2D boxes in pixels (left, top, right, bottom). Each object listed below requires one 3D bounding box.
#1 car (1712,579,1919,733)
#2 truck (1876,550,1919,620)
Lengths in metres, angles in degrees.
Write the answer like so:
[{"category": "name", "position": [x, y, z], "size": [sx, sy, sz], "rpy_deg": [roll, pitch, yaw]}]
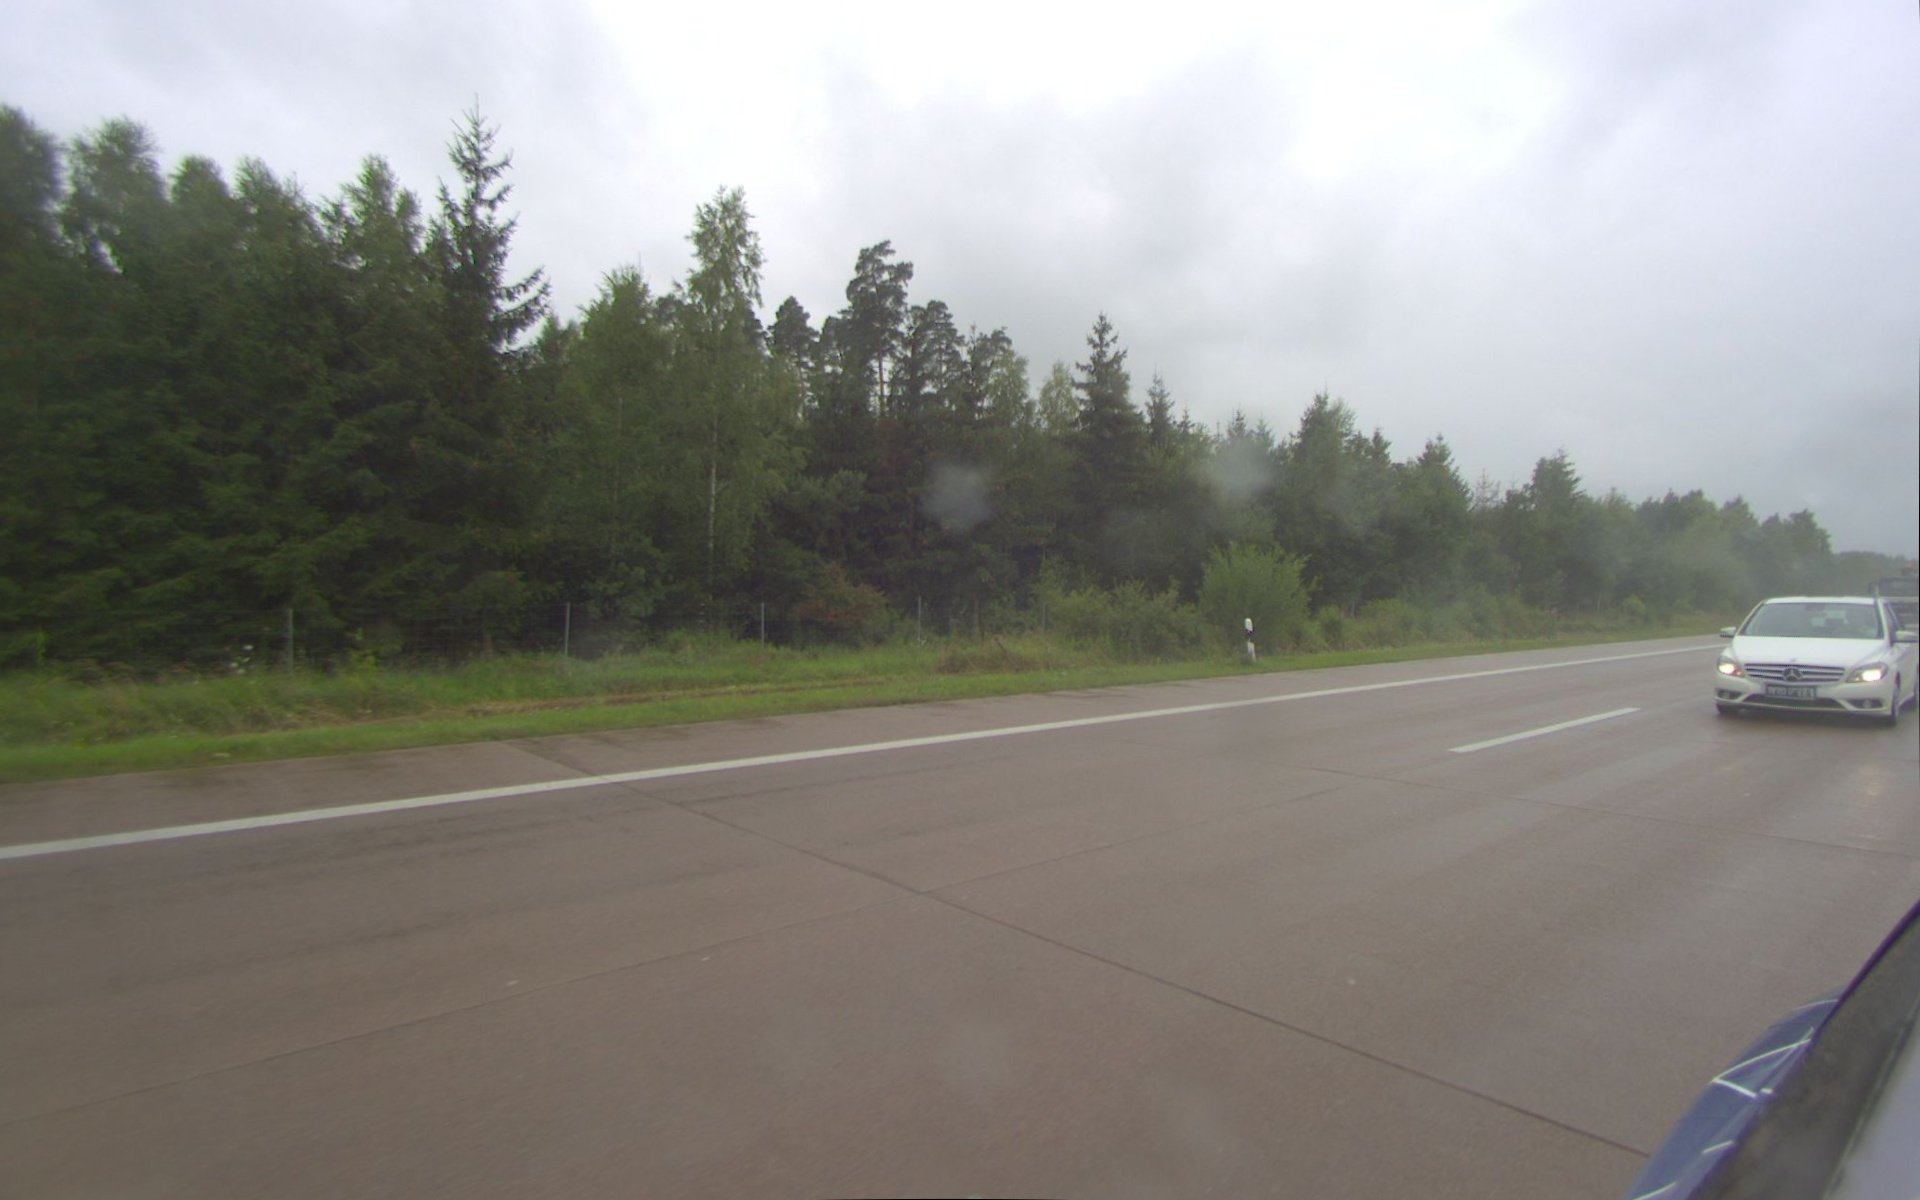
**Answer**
[{"category": "car", "position": [11.908, 0.633, 13.724], "size": [4.661, 1.750, 1.811], "rpy_deg": [0, 0, -41]}, {"category": "truck", "position": [54.652, -0.797, 57.345], "size": [7.816, 3.777, 3.239], "rpy_deg": [0, 0, -41]}]
